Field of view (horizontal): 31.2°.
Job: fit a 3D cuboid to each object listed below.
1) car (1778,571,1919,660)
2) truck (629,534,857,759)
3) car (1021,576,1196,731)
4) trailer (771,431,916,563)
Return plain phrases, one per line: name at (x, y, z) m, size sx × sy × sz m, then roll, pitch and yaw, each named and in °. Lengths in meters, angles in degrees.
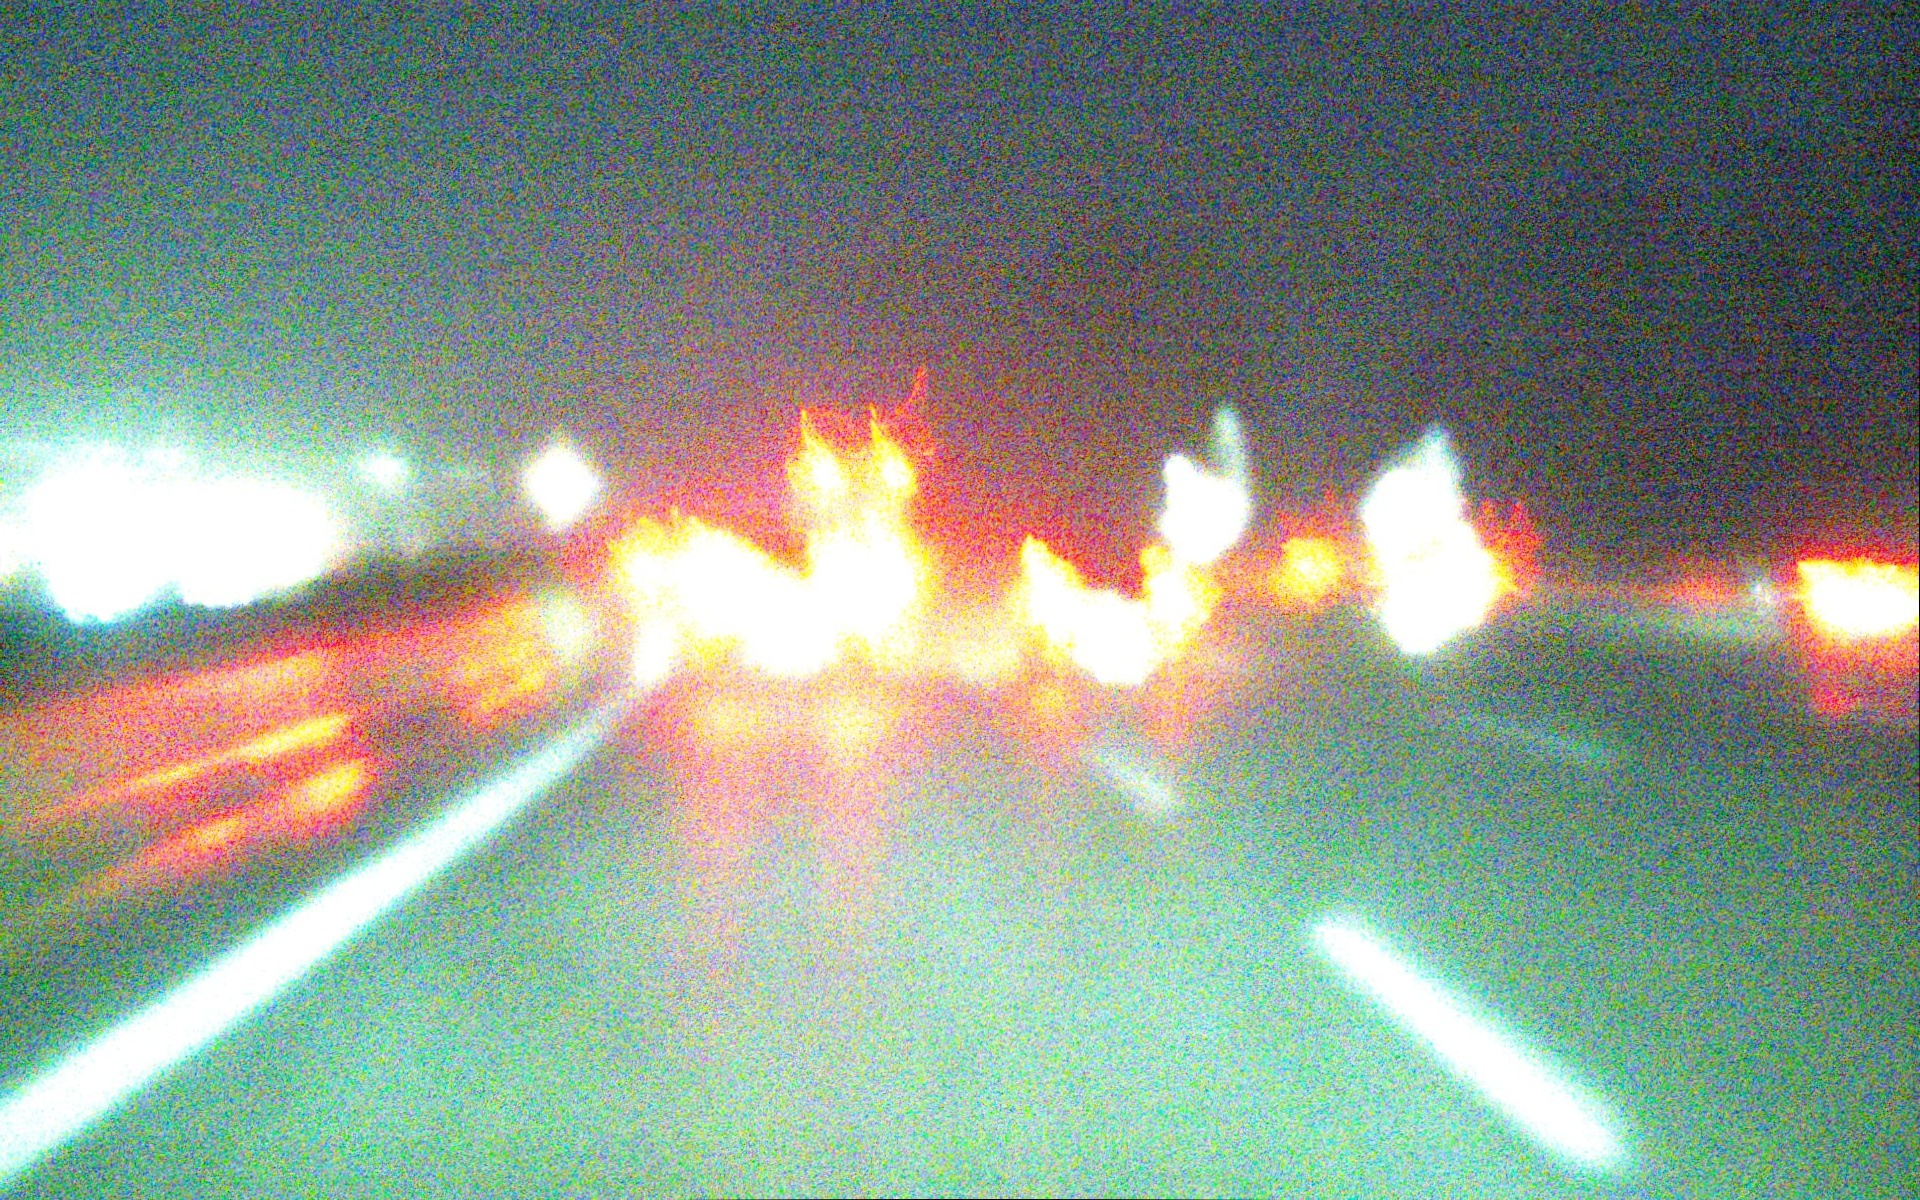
car at (18.049, 0.299, 69.470) m, size 1.993 × 1.595 × 4.000 m, roll 3°, pitch 1°, yaw 0°
truck at (-2.341, 0.398, 37.242) m, size 2.144 × 2.070 × 6.605 m, roll 3°, pitch 1°, yaw -4°
car at (1.669, 0.572, 39.900) m, size 1.800 × 1.612 × 4.257 m, roll -1°, pitch 1°, yaw 0°
trailer at (-4.109, -3.612, 117.404) m, size 2.738 × 4.233 × 13.377 m, roll 0°, pitch 3°, yaw -12°
